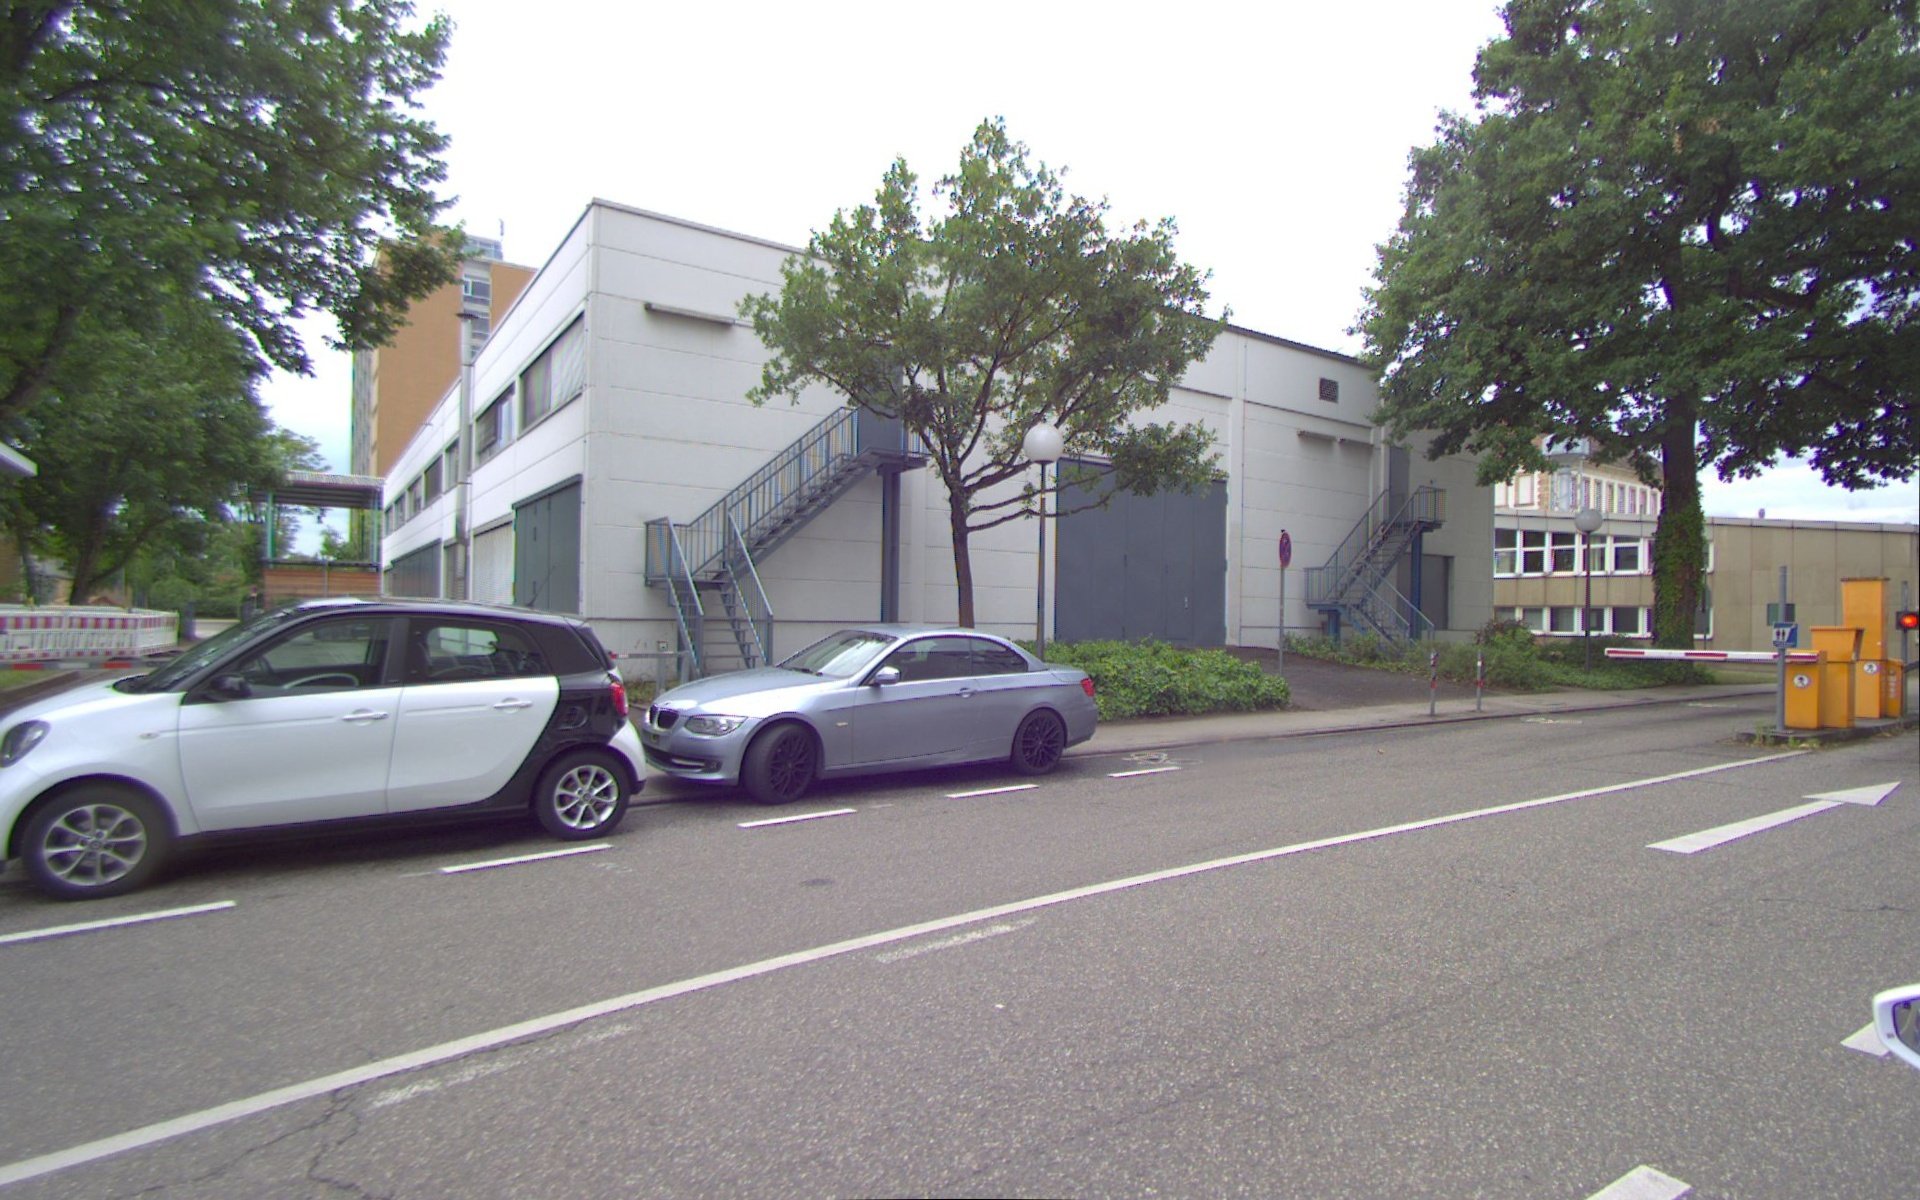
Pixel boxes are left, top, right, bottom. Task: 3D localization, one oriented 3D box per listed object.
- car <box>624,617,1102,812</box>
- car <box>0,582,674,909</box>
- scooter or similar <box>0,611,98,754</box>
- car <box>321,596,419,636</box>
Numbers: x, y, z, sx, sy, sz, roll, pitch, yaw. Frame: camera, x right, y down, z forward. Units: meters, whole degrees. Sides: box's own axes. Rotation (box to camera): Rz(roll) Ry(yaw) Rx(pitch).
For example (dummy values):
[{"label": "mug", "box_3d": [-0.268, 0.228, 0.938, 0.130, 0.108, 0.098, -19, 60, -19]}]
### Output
[{"label": "car", "box_3d": [-0.782, 0.899, 9.444, 4.155, 1.407, 1.804, 1, 0, -37]}, {"label": "car", "box_3d": [-4.009, 0.721, 6.465, 3.839, 1.607, 1.704, 1, 0, -35]}, {"label": "scooter or similar", "box_3d": [-8.458, 0.713, 8.876, 0.441, 1.226, 1.307, 1, 0, 7]}, {"label": "car", "box_3d": [-23.819, 0.632, 40.524, 3.702, 1.550, 1.875, 0, -1, 31]}]
